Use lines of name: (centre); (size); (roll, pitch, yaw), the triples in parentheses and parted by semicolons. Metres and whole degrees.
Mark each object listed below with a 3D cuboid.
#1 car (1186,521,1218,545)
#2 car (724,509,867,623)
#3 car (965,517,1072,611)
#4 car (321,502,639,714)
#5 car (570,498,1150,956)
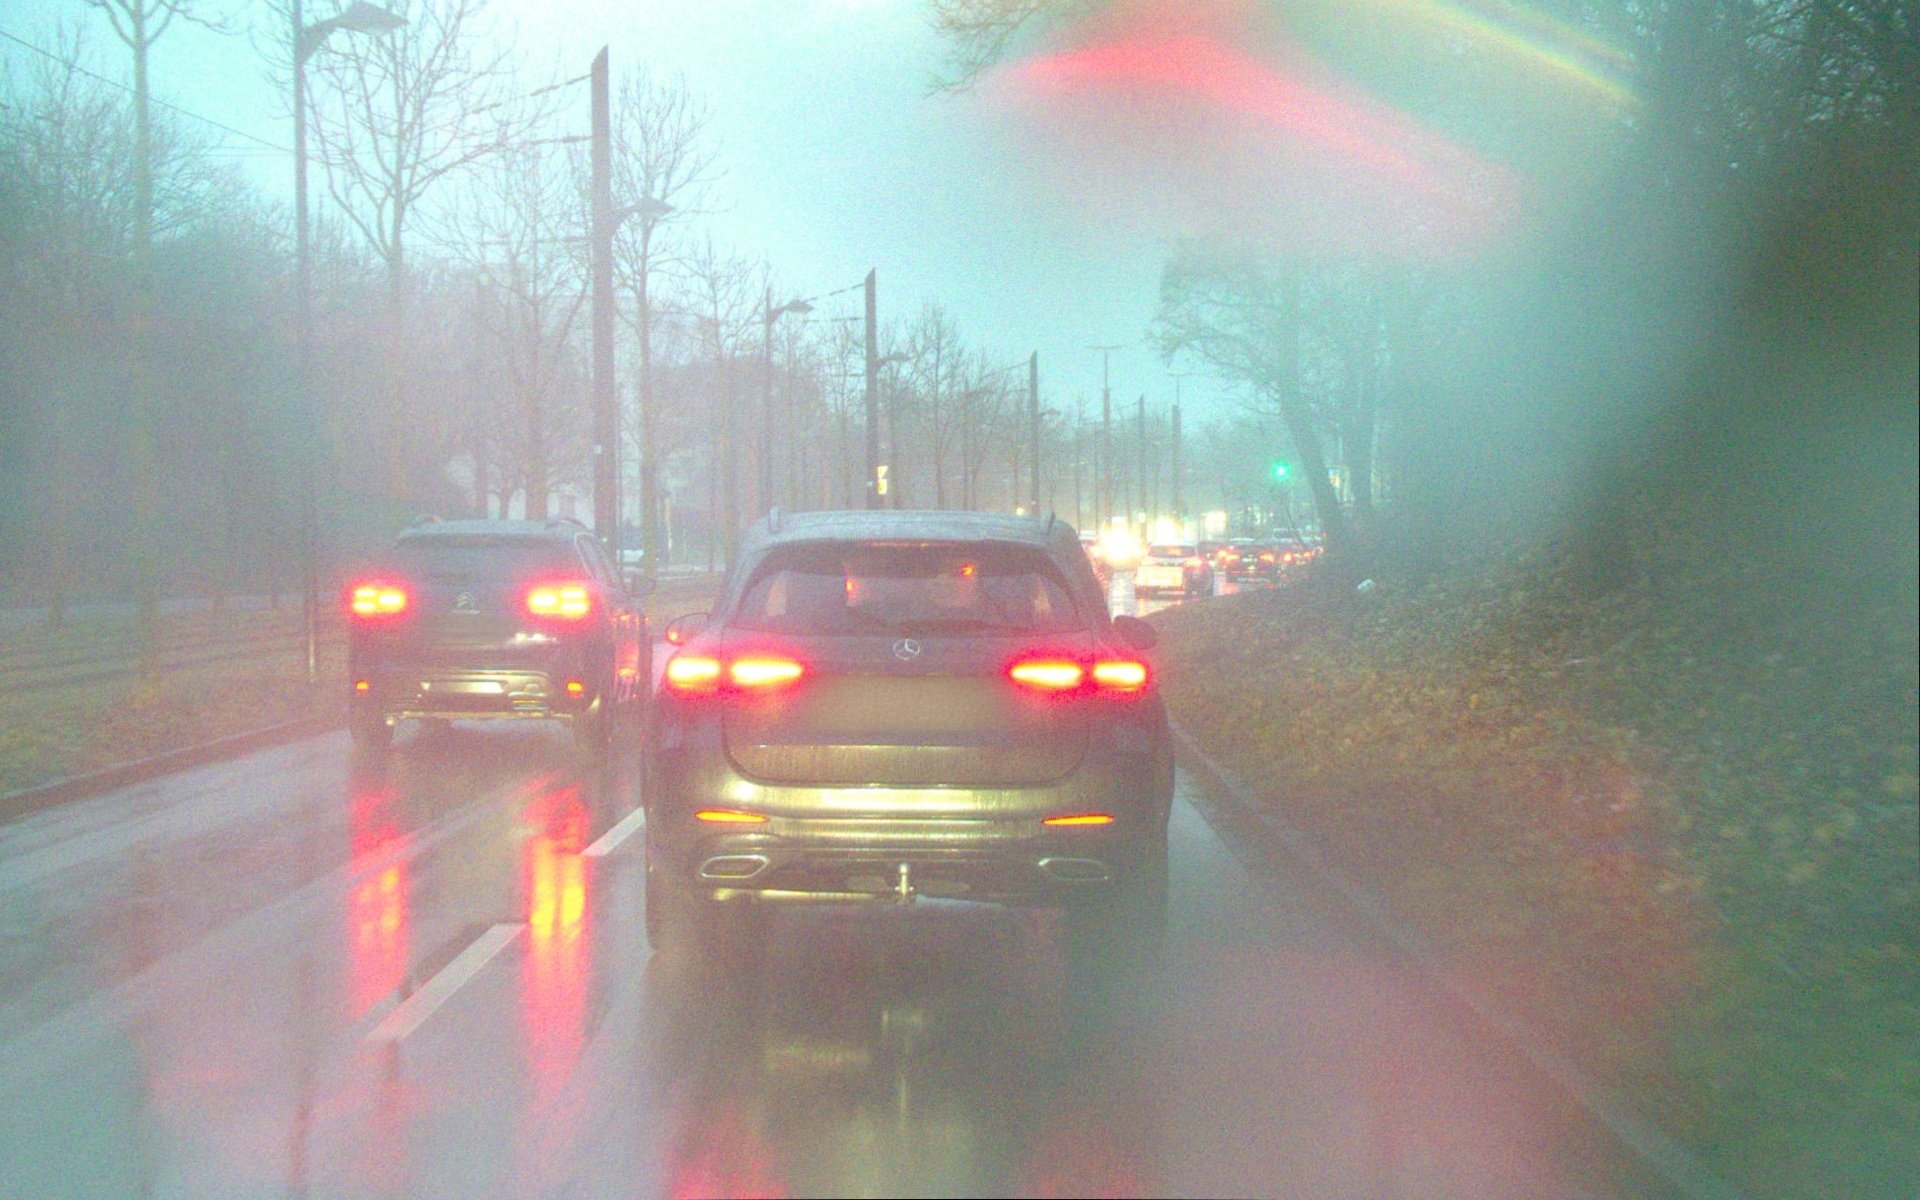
car: (17.411, -4.831, 247.574); (1.994, 1.660, 3.835); (-1, 1, 8)
car: (-2.398, -0.535, 50.887); (1.880, 1.588, 4.000); (-1, 2, 0)
car: (1.034, -0.636, 59.068); (1.709, 1.552, 3.996); (0, 1, 3)
car: (-3.535, -0.003, 26.002); (1.880, 1.454, 4.001); (-1, 2, -1)
car: (-0.385, 0.387, 13.863); (1.998, 1.578, 4.001); (0, 2, -1)
